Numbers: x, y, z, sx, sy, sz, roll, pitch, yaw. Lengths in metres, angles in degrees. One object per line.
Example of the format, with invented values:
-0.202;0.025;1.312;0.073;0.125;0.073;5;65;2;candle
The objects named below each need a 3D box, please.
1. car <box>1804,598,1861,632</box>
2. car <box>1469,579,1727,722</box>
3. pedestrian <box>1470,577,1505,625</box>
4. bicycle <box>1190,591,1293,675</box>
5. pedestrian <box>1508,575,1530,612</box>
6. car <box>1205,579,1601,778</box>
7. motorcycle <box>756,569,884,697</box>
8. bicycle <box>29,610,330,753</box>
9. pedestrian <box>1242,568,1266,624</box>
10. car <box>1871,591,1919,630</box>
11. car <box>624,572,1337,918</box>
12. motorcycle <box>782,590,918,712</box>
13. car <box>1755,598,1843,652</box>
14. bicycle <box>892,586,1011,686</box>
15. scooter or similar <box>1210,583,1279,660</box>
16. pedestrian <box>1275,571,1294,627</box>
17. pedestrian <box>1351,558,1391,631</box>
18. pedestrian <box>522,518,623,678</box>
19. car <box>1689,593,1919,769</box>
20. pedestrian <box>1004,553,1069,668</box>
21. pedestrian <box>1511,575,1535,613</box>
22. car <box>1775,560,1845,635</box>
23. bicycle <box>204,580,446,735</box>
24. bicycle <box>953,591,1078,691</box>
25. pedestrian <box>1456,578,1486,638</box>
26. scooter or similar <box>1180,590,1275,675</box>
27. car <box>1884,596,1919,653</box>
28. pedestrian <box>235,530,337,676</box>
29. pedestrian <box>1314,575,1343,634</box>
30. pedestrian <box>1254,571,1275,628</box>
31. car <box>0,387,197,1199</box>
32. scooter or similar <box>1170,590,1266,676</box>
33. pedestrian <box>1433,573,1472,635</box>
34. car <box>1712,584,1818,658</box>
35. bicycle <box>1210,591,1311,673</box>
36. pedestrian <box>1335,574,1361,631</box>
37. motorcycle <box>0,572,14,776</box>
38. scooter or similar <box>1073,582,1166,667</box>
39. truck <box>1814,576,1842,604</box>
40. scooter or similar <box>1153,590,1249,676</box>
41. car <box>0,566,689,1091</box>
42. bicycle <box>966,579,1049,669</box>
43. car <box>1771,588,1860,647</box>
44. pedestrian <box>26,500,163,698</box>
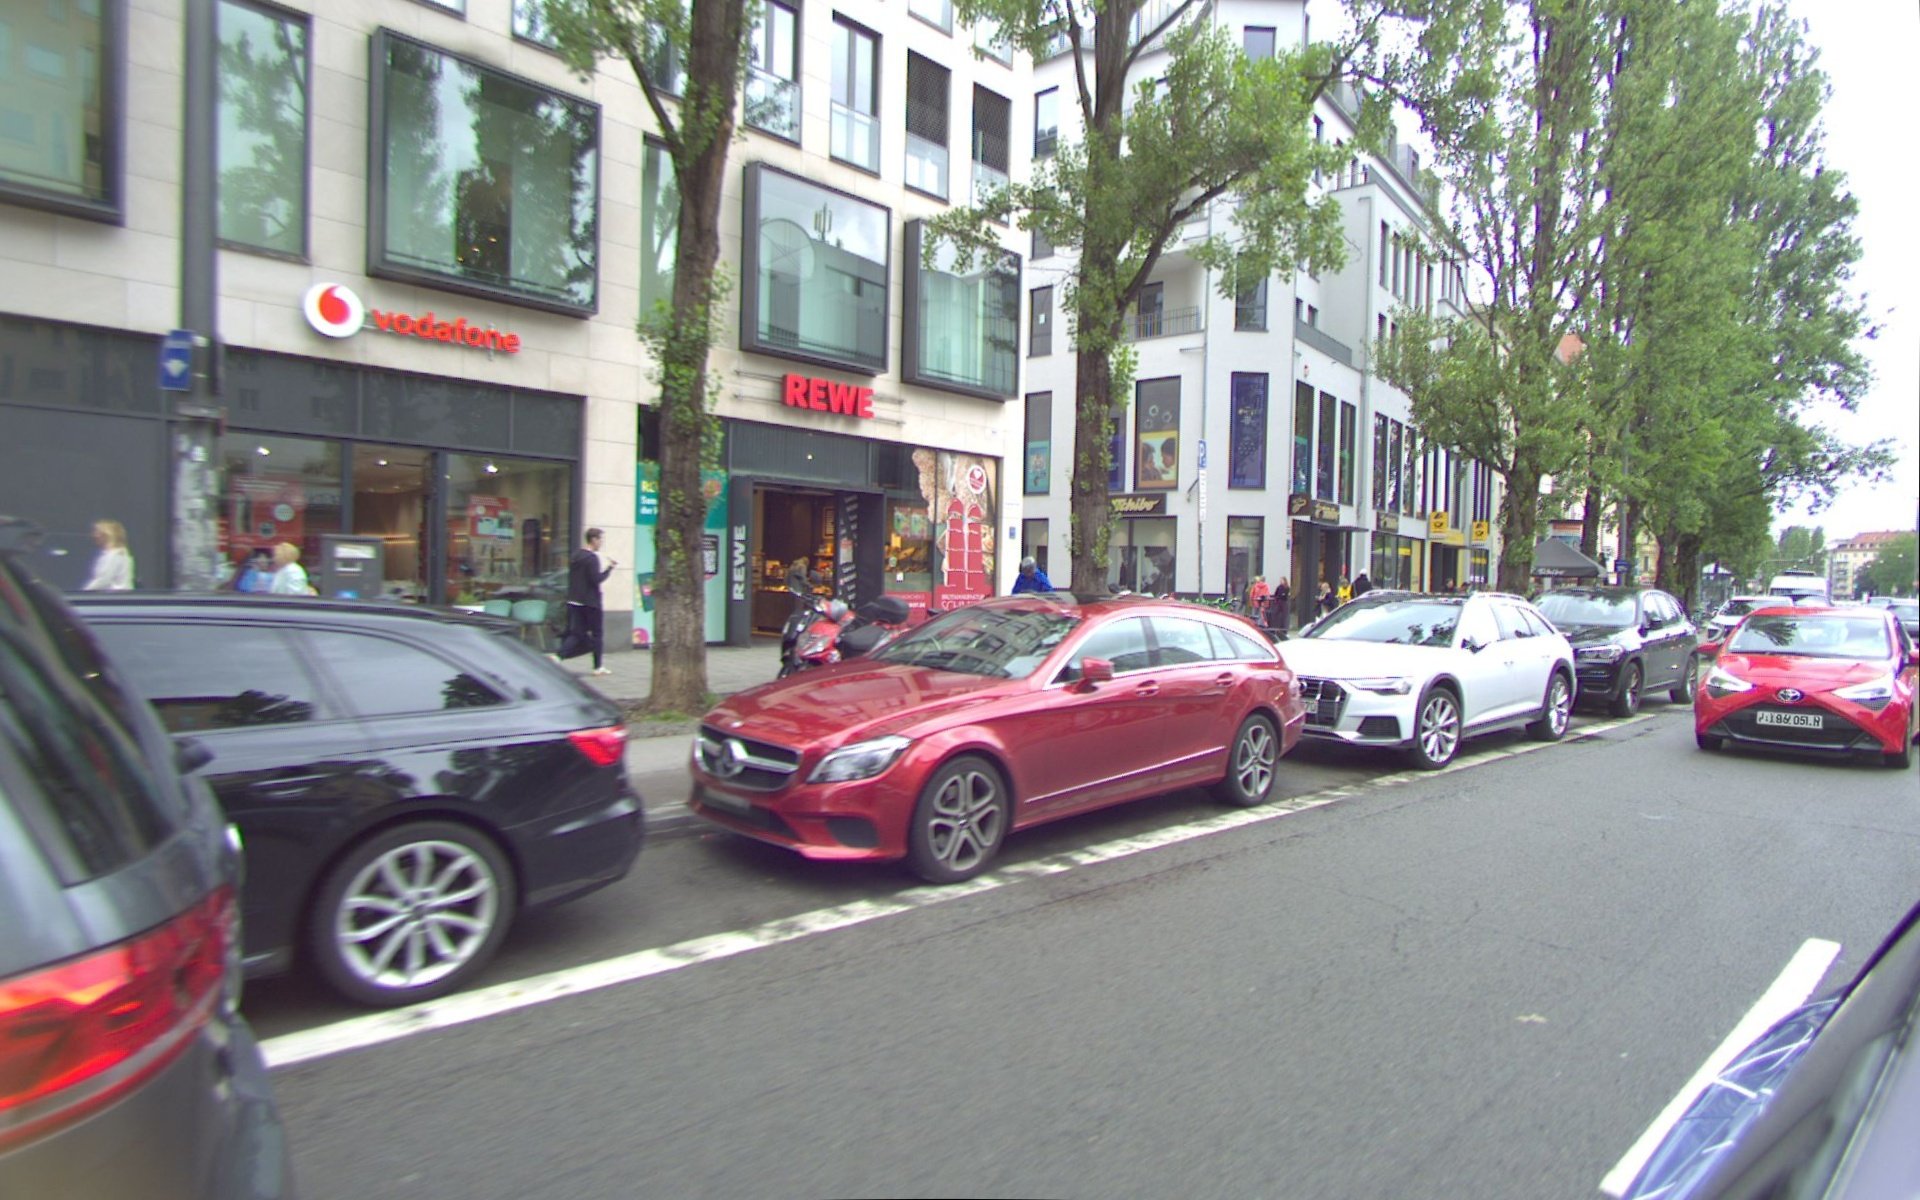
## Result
39.449;0.656;45.725;1.725;1.472;4.081;-1;0;44;car
9.212;0.566;14.447;4.570;1.721;1.928;-1;1;-41;car
18.464;0.029;35.419;0.799;1.657;1.007;2;1;43;pedestrian
4.467;0.503;16.105;0.527;1.222;1.479;1;2;-45;bicycle
25.127;-0.294;45.459;0.690;1.669;0.786;2;1;40;pedestrian
4.652;0.612;10.248;4.722;1.519;1.814;0;2;-41;car
-1.609;0.344;11.873;0.681;1.373;1.629;2;2;25;motorcycle
-5.747;0.570;7.572;1.728;0.952;0.435;1;2;-32;bicycle
8.770;-0.114;30.191;0.538;1.645;0.507;0;0;-1;pedestrian
45.663;0.460;49.123;1.991;1.772;3.942;0;1;40;car
0.450;0.615;6.730;4.723;1.468;1.933;0;2;-43;car
-1.144;0.494;10.869;0.681;1.170;1.629;2;2;25;motorcycle
24.635;0.682;29.649;1.770;1.451;4.500;0;0;42;car
-0.117;0.451;12.962;1.425;1.204;0.548;2;1;-8;bicycle
4.824;0.343;17.189;0.373;1.241;1.051;1;2;-44;scooter or similar
9.609;-0.032;29.977;0.499;1.645;0.547;0;0;13;pedestrian
11.215;-0.157;27.589;0.646;1.948;0.911;3;2;44;pedestrian
-4.834;-0.043;12.609;0.922;1.892;0.819;1;2;-41;pedestrian
8.985;0.678;10.448;3.534;1.464;1.667;-1;1;-42;car
1.119;0.143;14.957;0.599;1.639;0.796;1;2;-23;pedestrian
23.758;-0.254;42.734;0.682;1.577;0.739;3;2;42;pedestrian
33.650;-0.145;39.986;1.992;2.776;5.471;0;1;41;car
-5.398;0.448;8.683;1.687;1.202;0.455;0;2;-45;bicycle
0.698;0.441;12.062;0.640;1.076;1.749;3;2;35;bicycle
15.248;0.217;30.190;0.665;1.747;0.761;2;1;33;pedestrian
4.159;0.483;15.780;1.435;1.216;0.306;3;2;45;scooter or similar
26.908;0.651;28.090;1.734;1.488;3.990;1;1;41;car
-7.892;0.021;11.885;0.703;1.641;0.797;2;1;-8;pedestrian
10.207;0.115;28.019;0.560;1.586;0.491;1;2;-43;pedestrian
8.892;-0.013;29.563;0.541;1.645;0.505;0;0;15;pedestrian
-2.924;0.597;0.374;4.111;1.634;1.764;0;1;-41;car
3.944;0.482;15.542;1.435;1.216;0.306;3;2;45;scooter or similar
13.860;0.105;28.492;0.714;1.696;0.771;4;2;45;pedestrian
20.476;0.467;25.688;1.727;1.707;4.339;1;1;43;car
4.873;0.501;16.471;0.527;1.222;1.479;1;2;-45;bicycle
11.527;0.065;30.057;0.560;1.654;0.491;1;2;-43;pedestrian
-6.956;0.430;6.341;1.948;1.267;0.636;2;2;18;motorcycle
2.467;0.357;15.771;0.544;1.226;1.388;1;2;-39;scooter or similar
115.738;-1.294;135.004;2.532;3.531;7.640;3;2;40;truck
3.665;0.484;15.474;1.435;1.216;0.306;3;2;45;scooter or similar
-3.356;0.613;3.422;4.347;1.446;1.851;0;1;-41;car
0.658;0.312;14.732;0.442;1.186;1.772;1;2;-23;bicycle
28.272;0.522;33.389;1.929;1.827;4.703;1;1;44;car
-8.235;-0.017;9.663;0.668;1.794;0.798;1;1;-9;pedestrian
